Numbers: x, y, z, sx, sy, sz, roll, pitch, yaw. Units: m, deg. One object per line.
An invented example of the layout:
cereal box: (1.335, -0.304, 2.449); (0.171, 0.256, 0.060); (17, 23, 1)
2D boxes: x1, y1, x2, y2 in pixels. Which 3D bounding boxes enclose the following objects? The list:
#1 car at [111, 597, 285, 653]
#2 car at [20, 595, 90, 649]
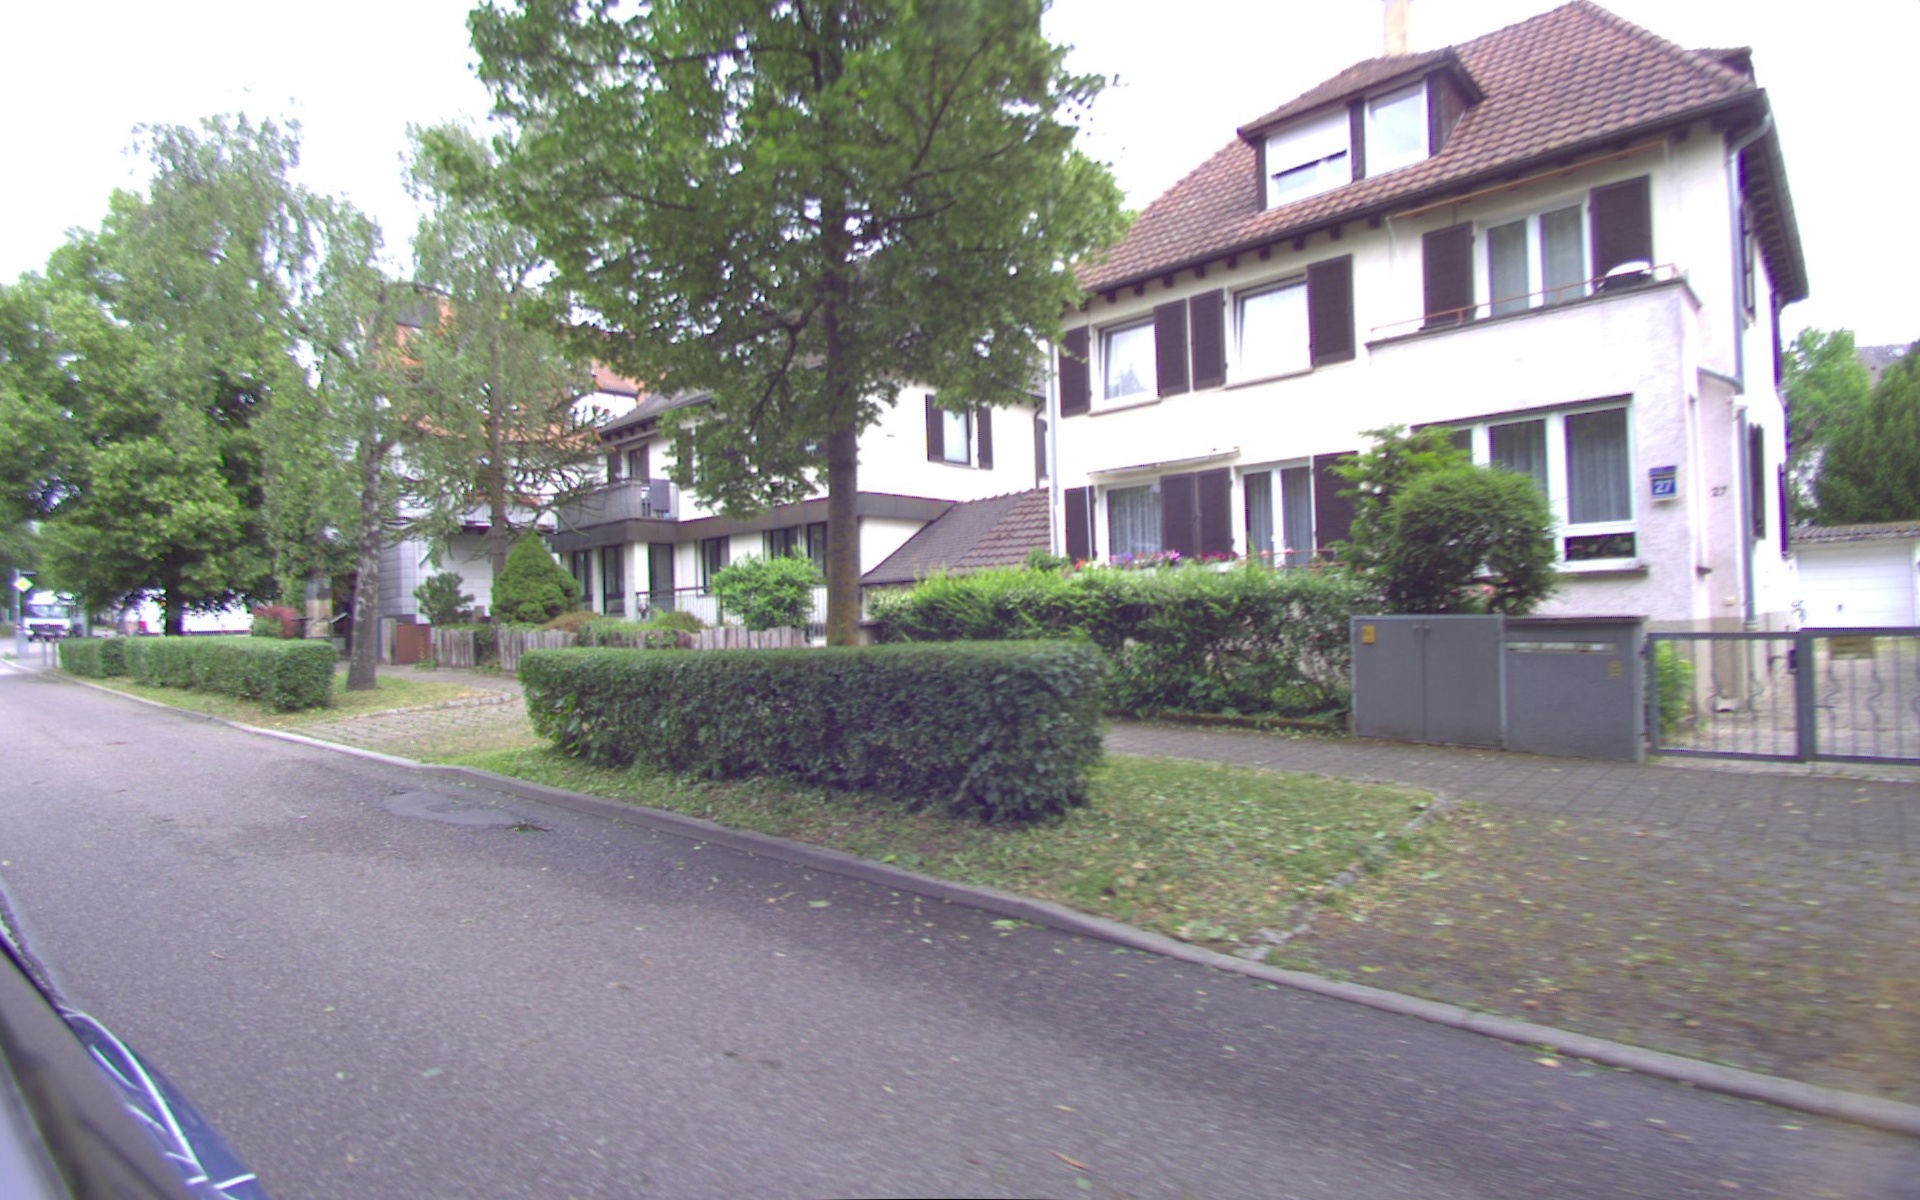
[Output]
car: (-34.446, 1.097, 46.069); (1.961, 2.365, 6.329); (-1, -1, 20)
car: (-58.612, 1.373, 65.696); (2.397, 3.300, 7.811); (0, -1, -35)
